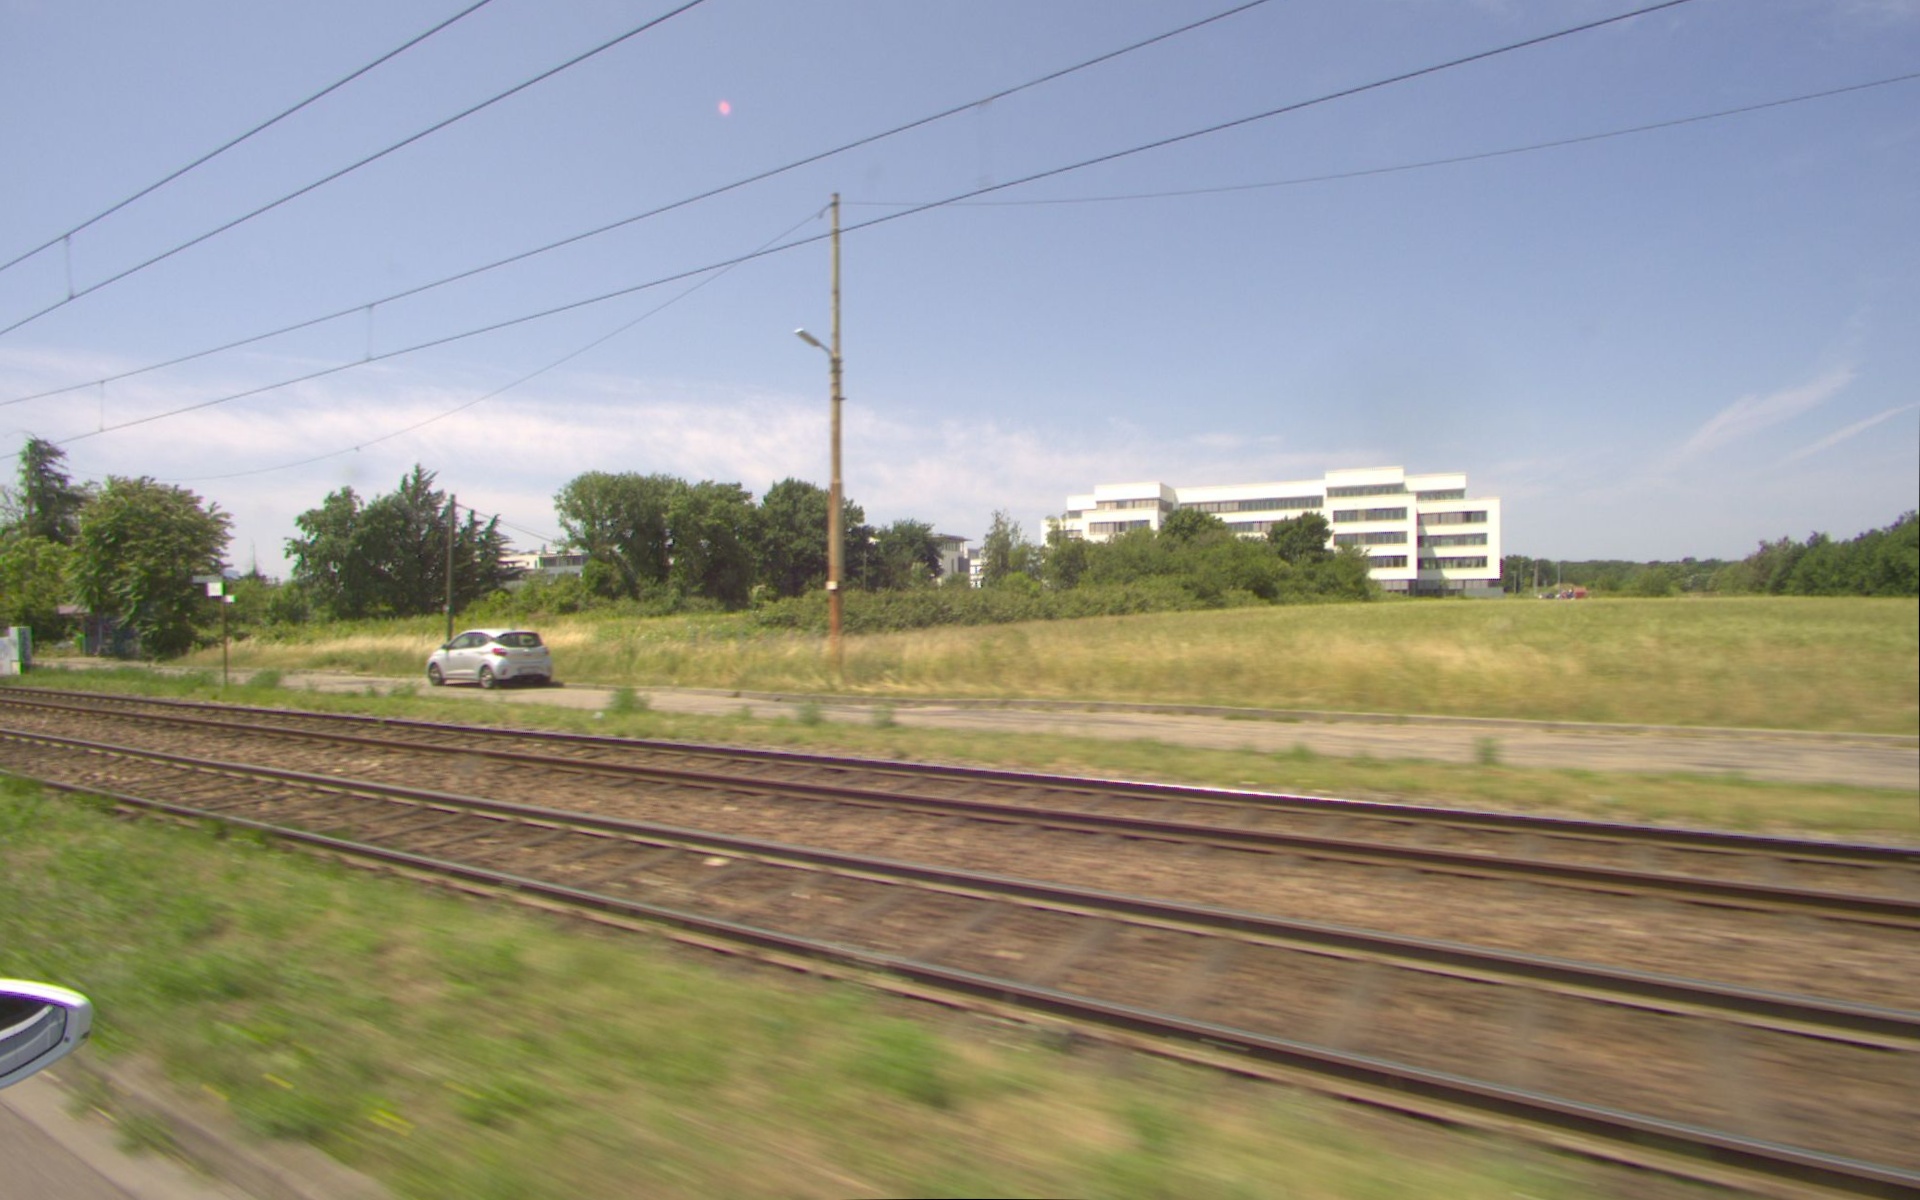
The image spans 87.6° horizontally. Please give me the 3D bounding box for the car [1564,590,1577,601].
[{"bbox_3d":[112.583,-0.841,184.605,1.737,1.842,4.202,-1,-1,28],"label":"car"}]

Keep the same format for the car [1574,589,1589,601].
[{"bbox_3d":[104.782,-0.821,168.839,1.836,1.940,4.667,-1,-1,28],"label":"car"}]

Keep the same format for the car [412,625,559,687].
[{"bbox_3d":[-12.497,1.424,26.305,3.945,1.507,1.709,-1,-1,33],"label":"car"}]
